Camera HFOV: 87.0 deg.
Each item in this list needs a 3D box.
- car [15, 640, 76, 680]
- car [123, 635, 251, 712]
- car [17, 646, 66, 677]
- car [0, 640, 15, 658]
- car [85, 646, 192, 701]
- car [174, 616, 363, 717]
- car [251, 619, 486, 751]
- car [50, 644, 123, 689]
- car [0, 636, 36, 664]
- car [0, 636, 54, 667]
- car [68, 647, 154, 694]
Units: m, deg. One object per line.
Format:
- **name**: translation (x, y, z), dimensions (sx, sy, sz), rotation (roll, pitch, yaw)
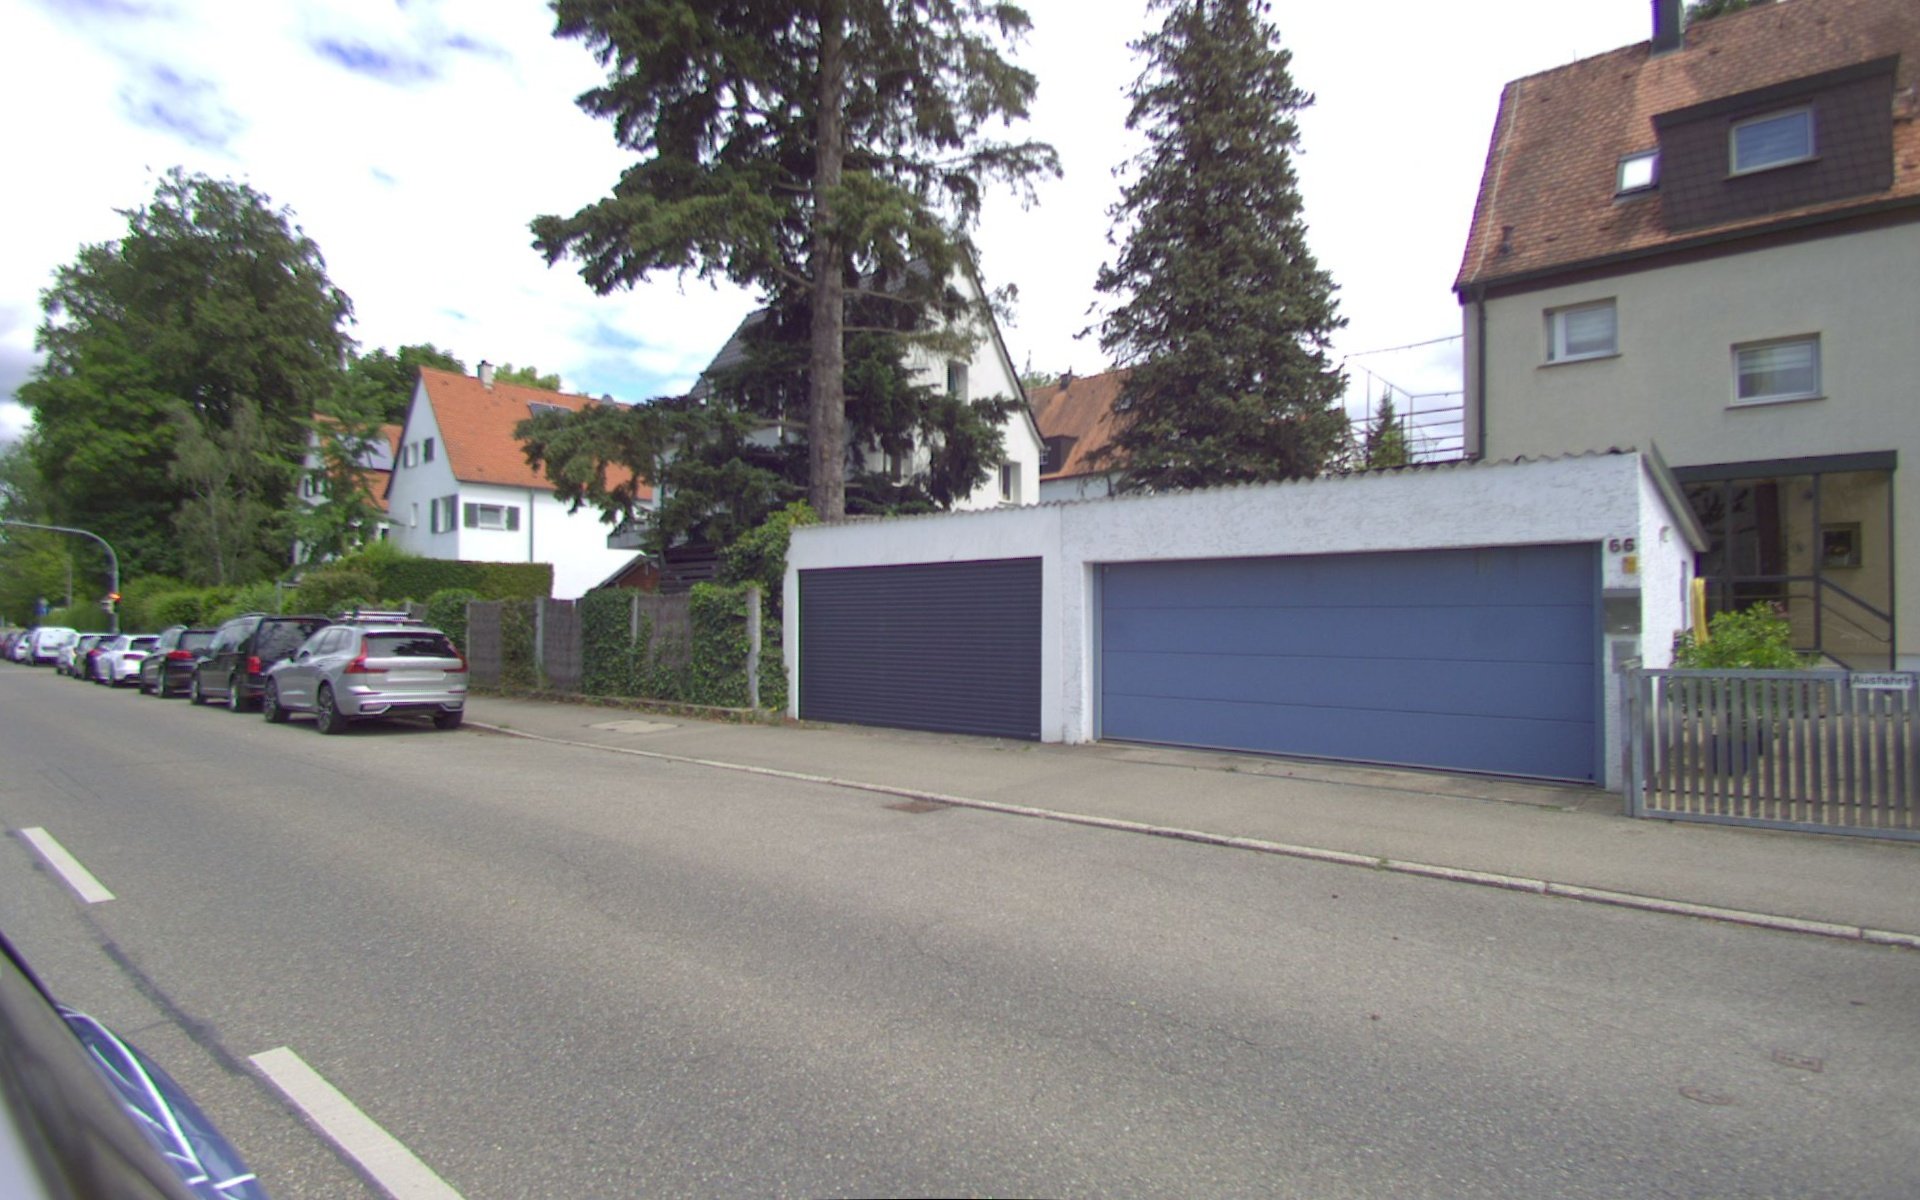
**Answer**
- **car**: translation (-42.769, 2.777, 47.319), dimensions (4.607, 1.772, 1.658), rotation (-2, -4, 43)
- **car**: translation (-18.855, 1.740, 24.613), dimensions (4.583, 1.691, 1.609), rotation (-2, -5, 42)
- **car**: translation (-46.378, 3.088, 51.083), dimensions (1.684, 1.464, 4.361), rotation (5, -5, -43)
- **car**: translation (-77.372, 3.970, 81.348), dimensions (1.944, 1.413, 4.067), rotation (1, -3, -45)
- **car**: translation (-23.758, 2.062, 29.197), dimensions (5.070, 1.470, 1.785), rotation (-2, -4, 44)
- **car**: translation (-14.216, 1.270, 20.683), dimensions (4.881, 1.768, 2.045), rotation (-2, -1, 41)
- **car**: translation (-9.667, 1.266, 16.377), dimensions (4.706, 1.833, 1.964), rotation (-2, -3, 42)
- **car**: translation (-31.772, 2.372, 36.772), dimensions (3.744, 1.555, 1.683), rotation (-3, -4, 45)
- **car**: translation (-58.362, 3.071, 62.297), dimensions (4.415, 1.623, 1.771), rotation (-2, -3, 42)
- **car**: translation (-50.732, 2.759, 54.925), dimensions (4.643, 1.606, 1.876), rotation (-2, -3, 42)
- **car**: translation (-27.717, 2.268, 33.001), dimensions (4.325, 1.421, 1.723), rotation (-3, -4, 45)
